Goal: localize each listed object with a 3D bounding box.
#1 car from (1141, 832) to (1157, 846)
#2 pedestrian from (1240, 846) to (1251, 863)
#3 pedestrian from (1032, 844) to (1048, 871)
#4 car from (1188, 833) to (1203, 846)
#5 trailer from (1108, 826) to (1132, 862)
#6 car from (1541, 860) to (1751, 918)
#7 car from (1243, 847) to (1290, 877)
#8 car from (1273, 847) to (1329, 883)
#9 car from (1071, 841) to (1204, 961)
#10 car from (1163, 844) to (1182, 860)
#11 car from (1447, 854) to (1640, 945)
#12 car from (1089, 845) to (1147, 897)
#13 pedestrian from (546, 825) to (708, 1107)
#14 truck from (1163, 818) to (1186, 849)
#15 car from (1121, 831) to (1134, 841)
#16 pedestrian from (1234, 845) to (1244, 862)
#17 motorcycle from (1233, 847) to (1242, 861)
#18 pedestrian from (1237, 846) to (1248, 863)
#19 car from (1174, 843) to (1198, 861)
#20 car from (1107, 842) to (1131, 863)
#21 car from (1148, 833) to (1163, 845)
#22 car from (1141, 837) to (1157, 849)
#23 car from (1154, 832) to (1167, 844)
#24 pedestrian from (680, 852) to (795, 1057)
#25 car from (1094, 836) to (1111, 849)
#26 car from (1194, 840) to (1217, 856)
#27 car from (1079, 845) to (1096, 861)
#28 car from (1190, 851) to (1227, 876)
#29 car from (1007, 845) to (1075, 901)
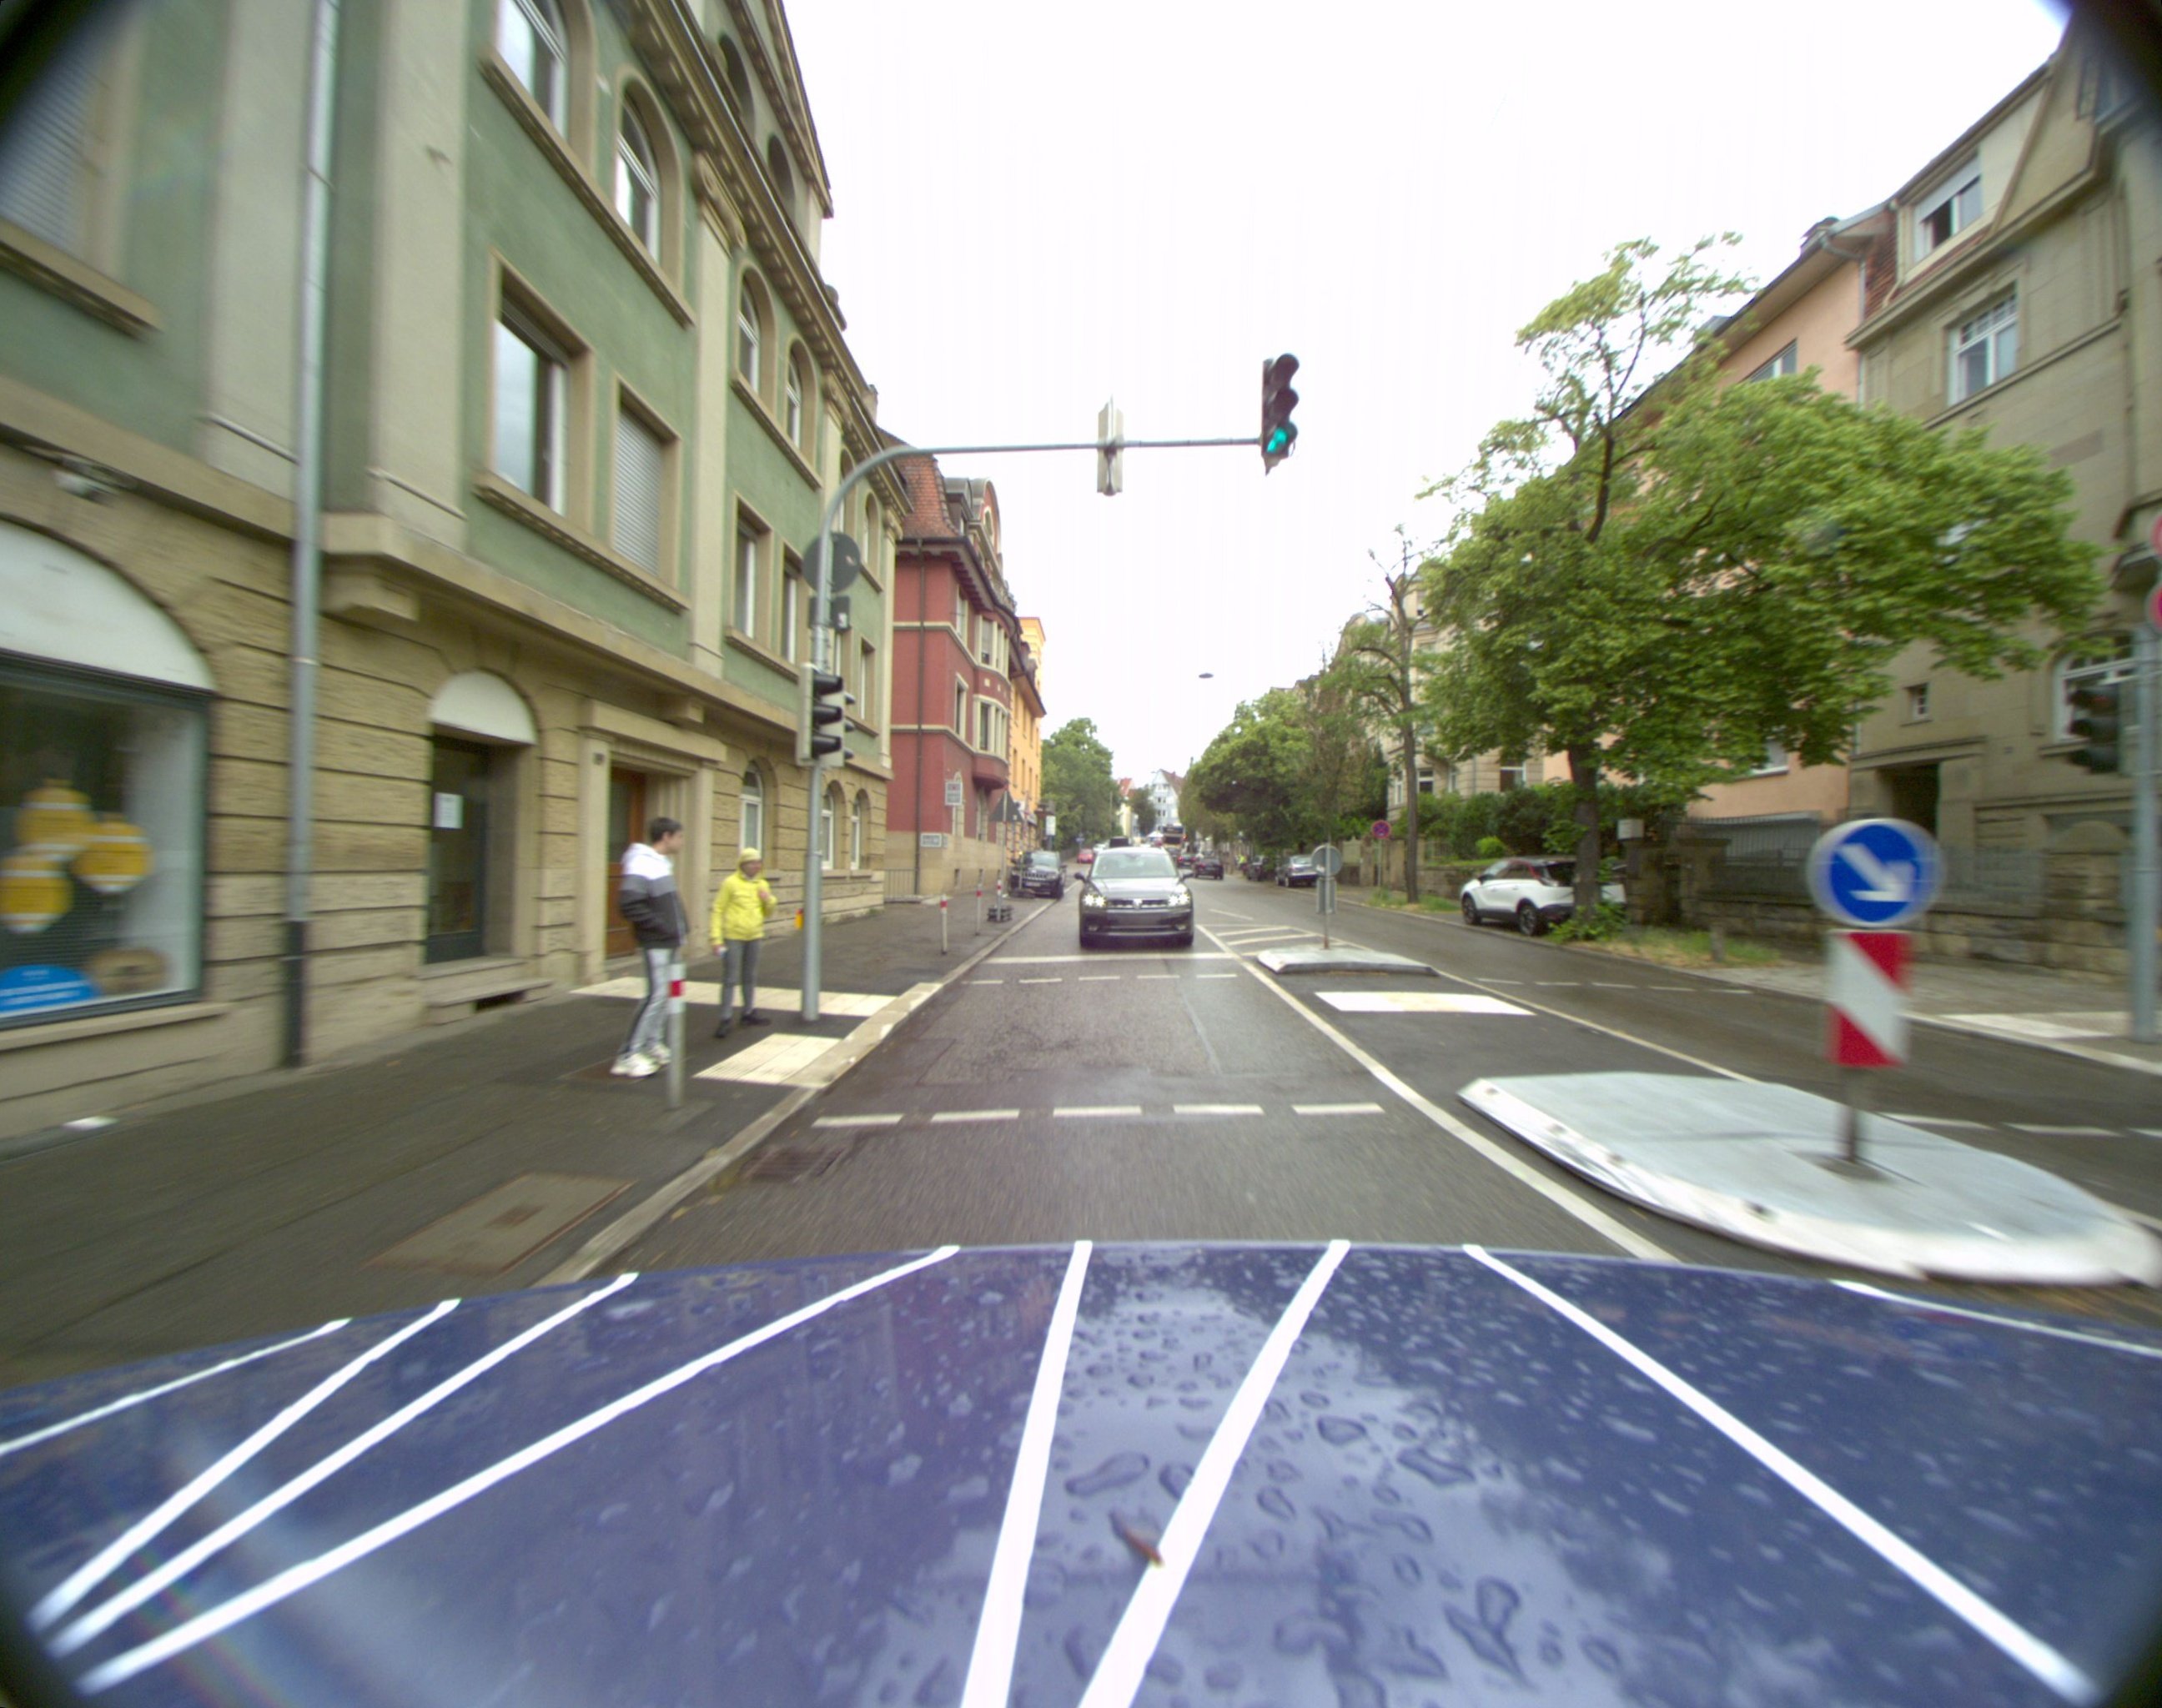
[{"bbox_3d":[8.283,-1.832,92.467,1.775,1.509,4.100,1,2,6],"label":"car"},{"bbox_3d":[13.913,0.049,64.388,0.768,1.424,0.649,1,3,5],"label":"pedestrian"},{"bbox_3d":[-2.449,0.211,45.262,0.769,1.581,0.711,0,3,-16],"label":"pedestrian"},{"bbox_3d":[15.896,-2.062,105.479,2.000,1.587,3.828,-2,2,8],"label":"car"},{"bbox_3d":[3.446,-0.912,66.735,1.966,3.025,2.364,-1,2,4],"label":"trailer"},{"bbox_3d":[14.413,0.860,19.567,3.996,1.319,1.837,1,1,1],"label":"car"},{"bbox_3d":[11.132,0.431,45.905,1.746,1.550,4.300,-2,2,0],"label":"car"},{"bbox_3d":[10.860,0.513,37.721,1.745,1.550,4.301,-1,2,3],"label":"car"},{"bbox_3d":[0.917,0.619,13.305,1.859,1.642,5.195,1,1,3],"label":"car"},{"bbox_3d":[10.252,-0.268,85.534,1.776,1.460,4.745,2,4,3],"label":"car"},{"bbox_3d":[9.743,0.866,16.476,1.745,1.550,4.301,-1,2,3],"label":"car"},{"bbox_3d":[1.442,0.551,28.087,1.924,1.642,4.486,-1,2,5],"label":"car"},{"bbox_3d":[-3.027,0.707,5.136,0.665,1.764,0.719,3,1,-9],"label":"pedestrian"},{"bbox_3d":[12.506,-2.732,101.747,2.653,3.833,9.309,3,2,7],"label":"truck"},{"bbox_3d":[7.968,-3.089,129.647,1.924,1.552,4.013,4,3,7],"label":"car"},{"bbox_3d":[13.696,-0.029,65.824,0.768,1.424,0.759,1,3,3],"label":"pedestrian"},{"bbox_3d":[14.473,-0.024,70.342,0.657,1.230,1.763,1,2,6],"label":"motorcycle"},{"bbox_3d":[13.860,0.009,65.131,0.768,1.424,0.649,1,3,5],"label":"pedestrian"},{"bbox_3d":[9.694,-0.170,70.280,1.776,1.508,4.593,-1,-2,3],"label":"car"},{"bbox_3d":[3.218,-0.139,63.517,1.924,1.642,4.134,-1,2,4],"label":"car"},{"bbox_3d":[10.437,-2.139,106.217,1.714,1.471,4.115,3,2,9],"label":"car"},{"bbox_3d":[8.933,-1.481,99.390,1.766,1.423,3.886,1,3,8],"label":"car"},{"bbox_3d":[12.180,-2.488,115.932,1.655,1.699,4.114,3,3,9],"label":"car"},{"bbox_3d":[-2.878,0.788,6.362,0.663,1.576,0.600,4,2,40],"label":"pedestrian"},{"bbox_3d":[2.856,-1.564,98.620,1.745,1.455,4.884,4,2,6],"label":"car"},{"bbox_3d":[13.151,-0.681,80.279,1.746,1.550,4.300,-1,2,1],"label":"car"},{"bbox_3d":[0.728,-0.158,79.852,1.613,1.493,3.957,2,2,3],"label":"car"},{"bbox_3d":[8.192,0.582,49.093,1.819,1.508,4.549,2,0,3],"label":"car"},{"bbox_3d":[-1.349,0.612,27.516,1.881,1.621,4.697,4,2,3],"label":"car"}]
